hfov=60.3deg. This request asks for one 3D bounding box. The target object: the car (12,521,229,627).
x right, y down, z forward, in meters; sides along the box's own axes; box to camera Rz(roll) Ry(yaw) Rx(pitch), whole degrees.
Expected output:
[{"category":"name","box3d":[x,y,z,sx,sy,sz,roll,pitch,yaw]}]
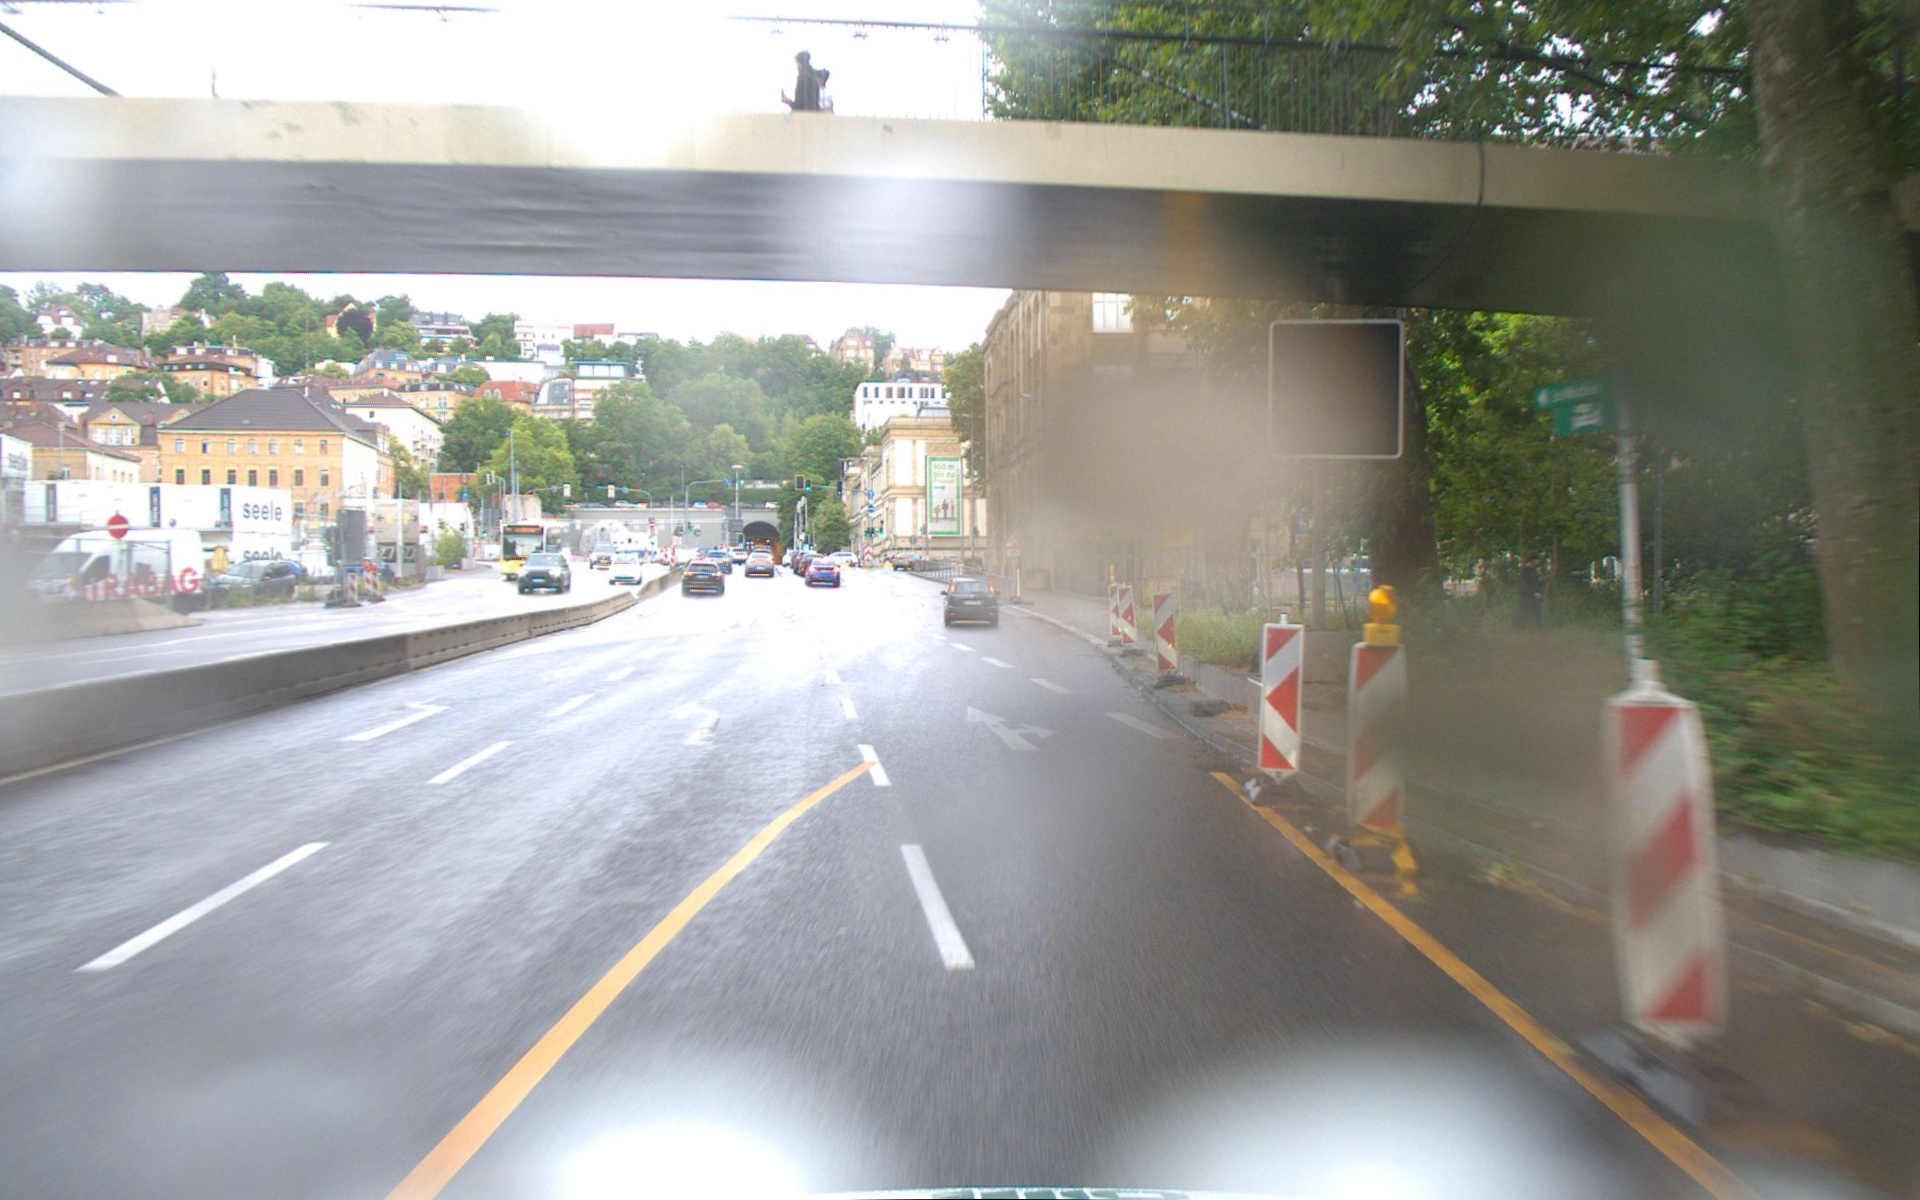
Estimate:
[{"category":"car","box3d":[-24.830,-0.723,49.242,1.952,2.925,6.054,-1,0,19]}]

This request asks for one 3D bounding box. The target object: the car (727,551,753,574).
[{"category":"car","box3d":[-20.551,-3.491,154.463,2.250,2.049,4.594,-1,0,-9]}]

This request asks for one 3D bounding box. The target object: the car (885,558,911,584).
[{"category":"car","box3d":[-5.042,-2.370,134.468,1.952,2.049,4.001,0,1,1]}]

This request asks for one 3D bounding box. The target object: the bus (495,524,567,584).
[{"category":"bus","box3d":[-24.226,-2.542,93.786,2.753,3.240,8.793,-1,1,-7]}]

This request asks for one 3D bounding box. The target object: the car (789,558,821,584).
[{"category":"car","box3d":[-10.845,-2.008,115.519,1.957,1.728,3.991,-1,0,-9]}]

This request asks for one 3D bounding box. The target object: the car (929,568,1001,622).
[{"category":"car","box3d":[0.116,-0.159,50.843,1.777,1.553,3.995,-1,0,-6]}]

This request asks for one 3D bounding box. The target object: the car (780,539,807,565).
[{"category":"car","box3d":[-13.942,-3.990,138.372,1.958,2.049,3.990,-1,1,-11]}]

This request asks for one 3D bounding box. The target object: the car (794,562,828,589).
[{"category":"car","box3d":[-9.846,-1.616,109.074,1.957,1.728,3.991,-1,1,-9]}]

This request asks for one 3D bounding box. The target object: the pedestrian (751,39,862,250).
[{"category":"pedestrian","box3d":[-1.733,-5.160,18.864,1.124,2.096,1.059,-1,0,1]}]

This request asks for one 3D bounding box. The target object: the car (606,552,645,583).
[{"category":"car","box3d":[-17.471,-1.682,86.463,1.676,1.515,3.446,-1,0,-6]}]

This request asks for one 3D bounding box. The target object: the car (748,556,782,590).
[{"category":"car","box3d":[-12.379,-1.681,104.792,2.013,2.049,3.992,-1,0,-8]}]

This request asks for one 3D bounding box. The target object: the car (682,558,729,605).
[{"category":"car","box3d":[-11.607,-0.838,75.522,1.978,2.049,3.993,-1,0,-7]}]

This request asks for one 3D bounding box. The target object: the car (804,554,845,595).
[{"category":"car","box3d":[-7.469,-1.383,90.889,2.065,2.086,3.993,-1,0,-7]}]

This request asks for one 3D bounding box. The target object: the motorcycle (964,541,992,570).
[{"category":"motorcycle","box3d":[1.254,-3.214,118.167,1.760,2.048,3.811,0,2,-4]}]

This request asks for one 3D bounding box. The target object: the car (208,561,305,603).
[{"category":"car","box3d":[-28.300,-0.708,66.669,1.725,1.593,4.684,-1,0,2]}]

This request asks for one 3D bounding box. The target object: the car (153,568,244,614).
[{"category":"car","box3d":[-28.322,-0.367,61.660,1.727,1.592,4.172,-1,2,-5]}]

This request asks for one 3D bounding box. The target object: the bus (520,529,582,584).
[{"category":"bus","box3d":[-25.338,-2.653,102.744,2.652,3.206,9.136,-1,1,-7]}]

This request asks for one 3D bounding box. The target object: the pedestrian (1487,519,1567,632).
[{"category":"pedestrian","box3d":[10.515,-0.467,30.680,1.043,2.048,1.023,-1,1,-42]}]

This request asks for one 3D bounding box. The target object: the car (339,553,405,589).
[{"category":"car","box3d":[-28.510,-1.420,80.369,1.954,1.650,3.998,0,2,-4]}]

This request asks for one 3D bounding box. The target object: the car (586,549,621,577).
[{"category":"car","box3d":[-23.976,-2.471,111.457,2.001,1.691,4.922,-1,0,-9]}]

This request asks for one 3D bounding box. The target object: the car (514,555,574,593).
[{"category":"car","box3d":[-18.725,-1.183,74.674,2.042,1.659,4.845,-1,1,-7]}]

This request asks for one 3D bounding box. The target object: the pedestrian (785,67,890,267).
[{"category":"pedestrian","box3d":[-1.456,-5.178,19.900,1.124,2.096,1.059,-1,0,1]}]

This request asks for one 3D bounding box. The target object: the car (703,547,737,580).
[{"category":"car","box3d":[-15.850,-2.396,109.549,1.955,2.049,3.996,-1,0,-5]}]
